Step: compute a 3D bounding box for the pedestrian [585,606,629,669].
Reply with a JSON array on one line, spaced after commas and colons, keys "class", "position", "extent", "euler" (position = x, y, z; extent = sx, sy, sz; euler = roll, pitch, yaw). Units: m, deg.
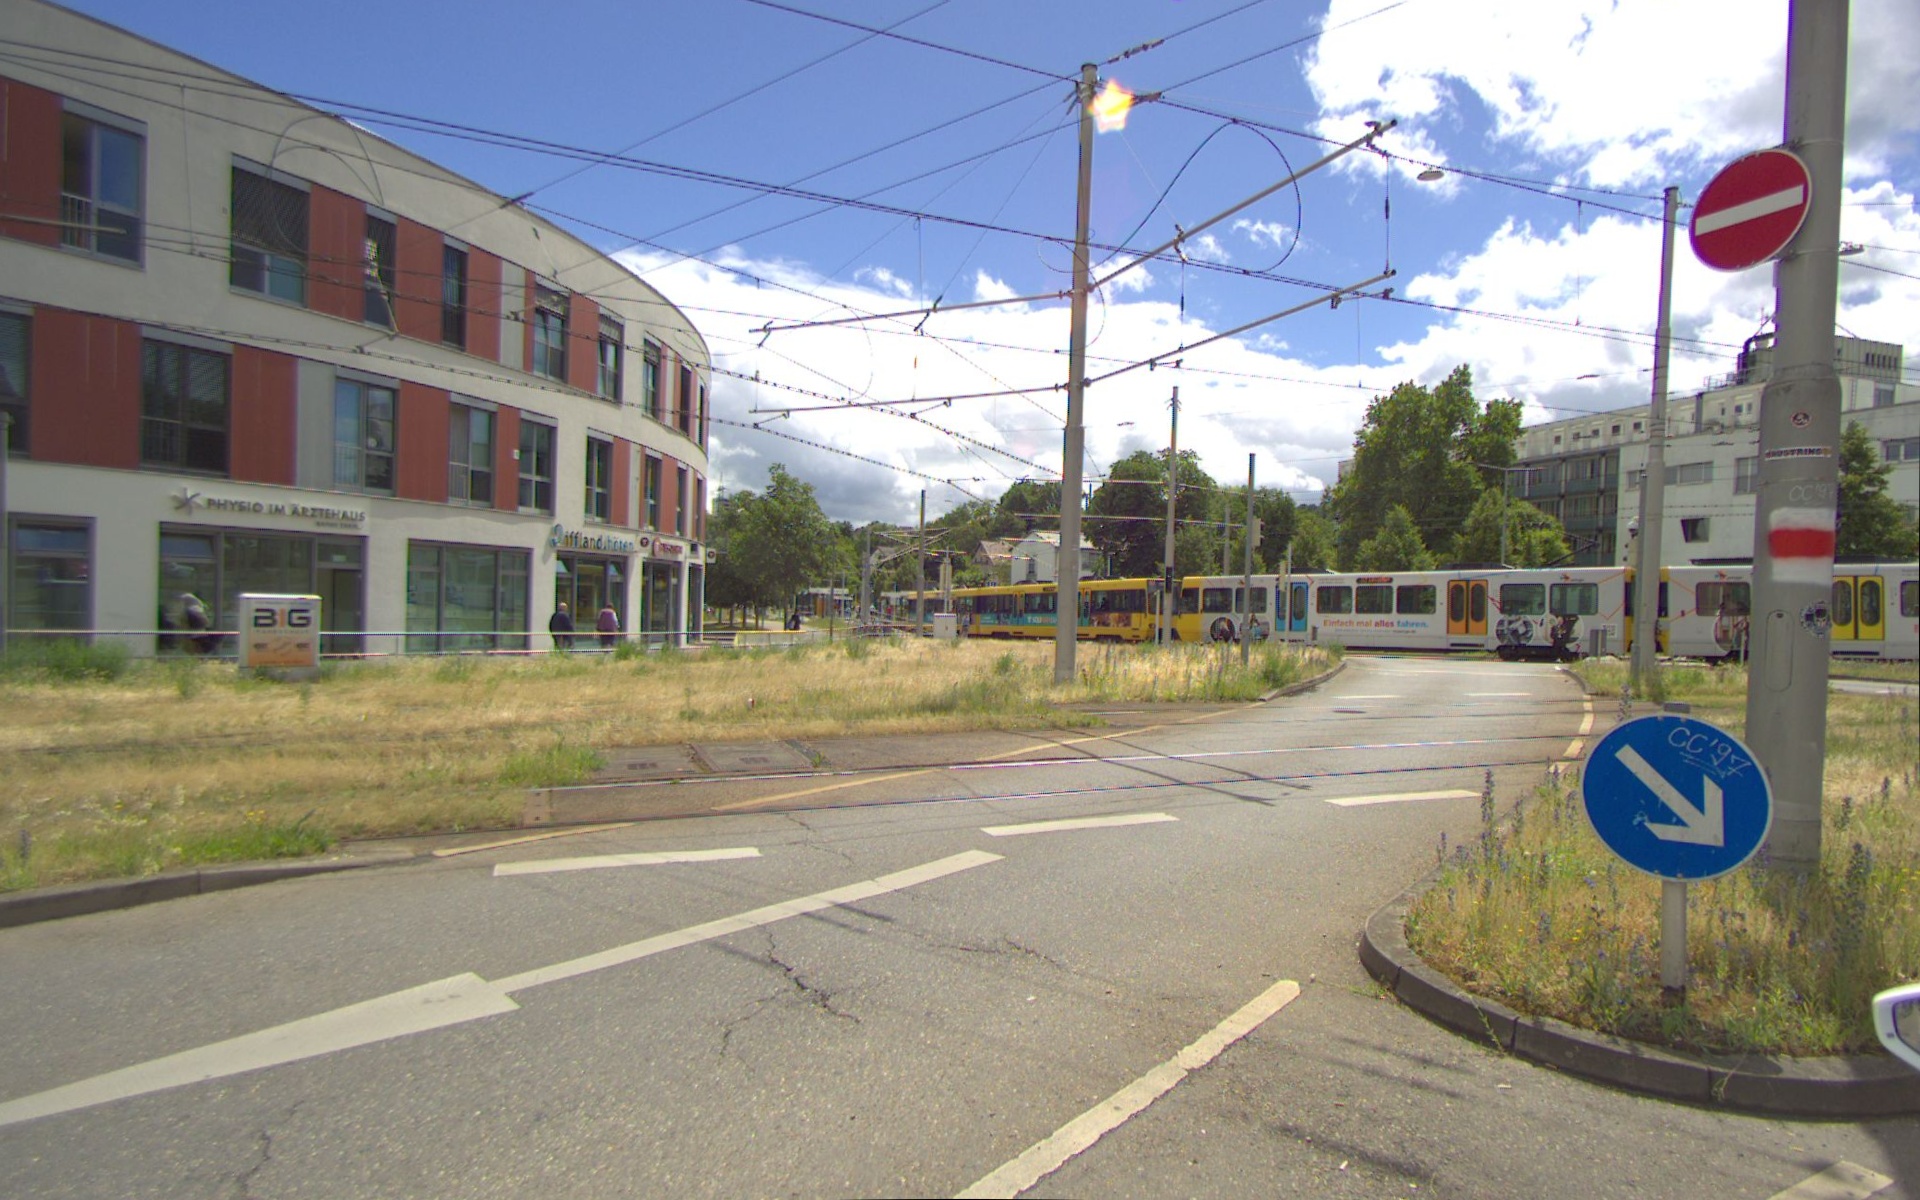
[{"class": "pedestrian", "position": [-11.366, 1.202, 32.366], "extent": [0.847, 1.994, 1.107], "euler": [1, -1, 8]}]

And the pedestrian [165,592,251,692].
[{"class": "pedestrian", "position": [-15.646, 0.862, 20.919], "extent": [0.848, 1.994, 1.115], "euler": [1, -1, 25]}]

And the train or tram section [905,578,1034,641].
[{"class": "train or tram section", "position": [0.204, 0.809, 74.533], "extent": [3.702, 3.970, 18.822], "euler": [2, -2, -18]}]

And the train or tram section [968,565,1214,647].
[{"class": "train or tram section", "position": [6.584, 0.474, 58.275], "extent": [3.712, 3.880, 20.016], "euler": [2, -2, -26]}]

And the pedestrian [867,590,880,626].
[{"class": "pedestrian", "position": [-14.947, 1.397, 173.208], "extent": [1.964, 5.998, 2.368], "euler": [2, -1, -9]}]

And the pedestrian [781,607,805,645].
[{"class": "pedestrian", "position": [-7.469, 1.166, 44.956], "extent": [0.847, 1.646, 0.733], "euler": [1, -1, 7]}]

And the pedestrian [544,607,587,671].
[{"class": "pedestrian", "position": [-10.037, 0.974, 25.542], "extent": [0.721, 1.601, 0.691], "euler": [1, 0, 24]}]

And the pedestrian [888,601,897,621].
[{"class": "pedestrian", "position": [-7.133, 1.179, 105.692], "extent": [0.807, 2.040, 0.771], "euler": [2, -1, -15]}]

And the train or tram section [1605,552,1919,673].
[{"class": "train or tram section", "position": [33.045, 0.483, 32.899], "extent": [19.659, 3.864, 3.761], "euler": [1, -1, 21]}]

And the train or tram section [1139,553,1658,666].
[{"class": "train or tram section", "position": [17.412, 0.387, 43.104], "extent": [20.339, 3.930, 3.742], "euler": [0, -2, 42]}]

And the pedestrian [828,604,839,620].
[{"class": "pedestrian", "position": [-16.870, 1.618, 133.941], "extent": [1.241, 2.040, 1.121], "euler": [2, -1, -19]}]

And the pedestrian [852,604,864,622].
[{"class": "pedestrian", "position": [-12.066, 1.540, 118.957], "extent": [1.241, 2.040, 1.121], "euler": [2, -1, -19]}]

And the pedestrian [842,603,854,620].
[{"class": "pedestrian", "position": [-13.836, 1.421, 124.091], "extent": [1.241, 2.040, 1.121], "euler": [2, -1, -19]}]
